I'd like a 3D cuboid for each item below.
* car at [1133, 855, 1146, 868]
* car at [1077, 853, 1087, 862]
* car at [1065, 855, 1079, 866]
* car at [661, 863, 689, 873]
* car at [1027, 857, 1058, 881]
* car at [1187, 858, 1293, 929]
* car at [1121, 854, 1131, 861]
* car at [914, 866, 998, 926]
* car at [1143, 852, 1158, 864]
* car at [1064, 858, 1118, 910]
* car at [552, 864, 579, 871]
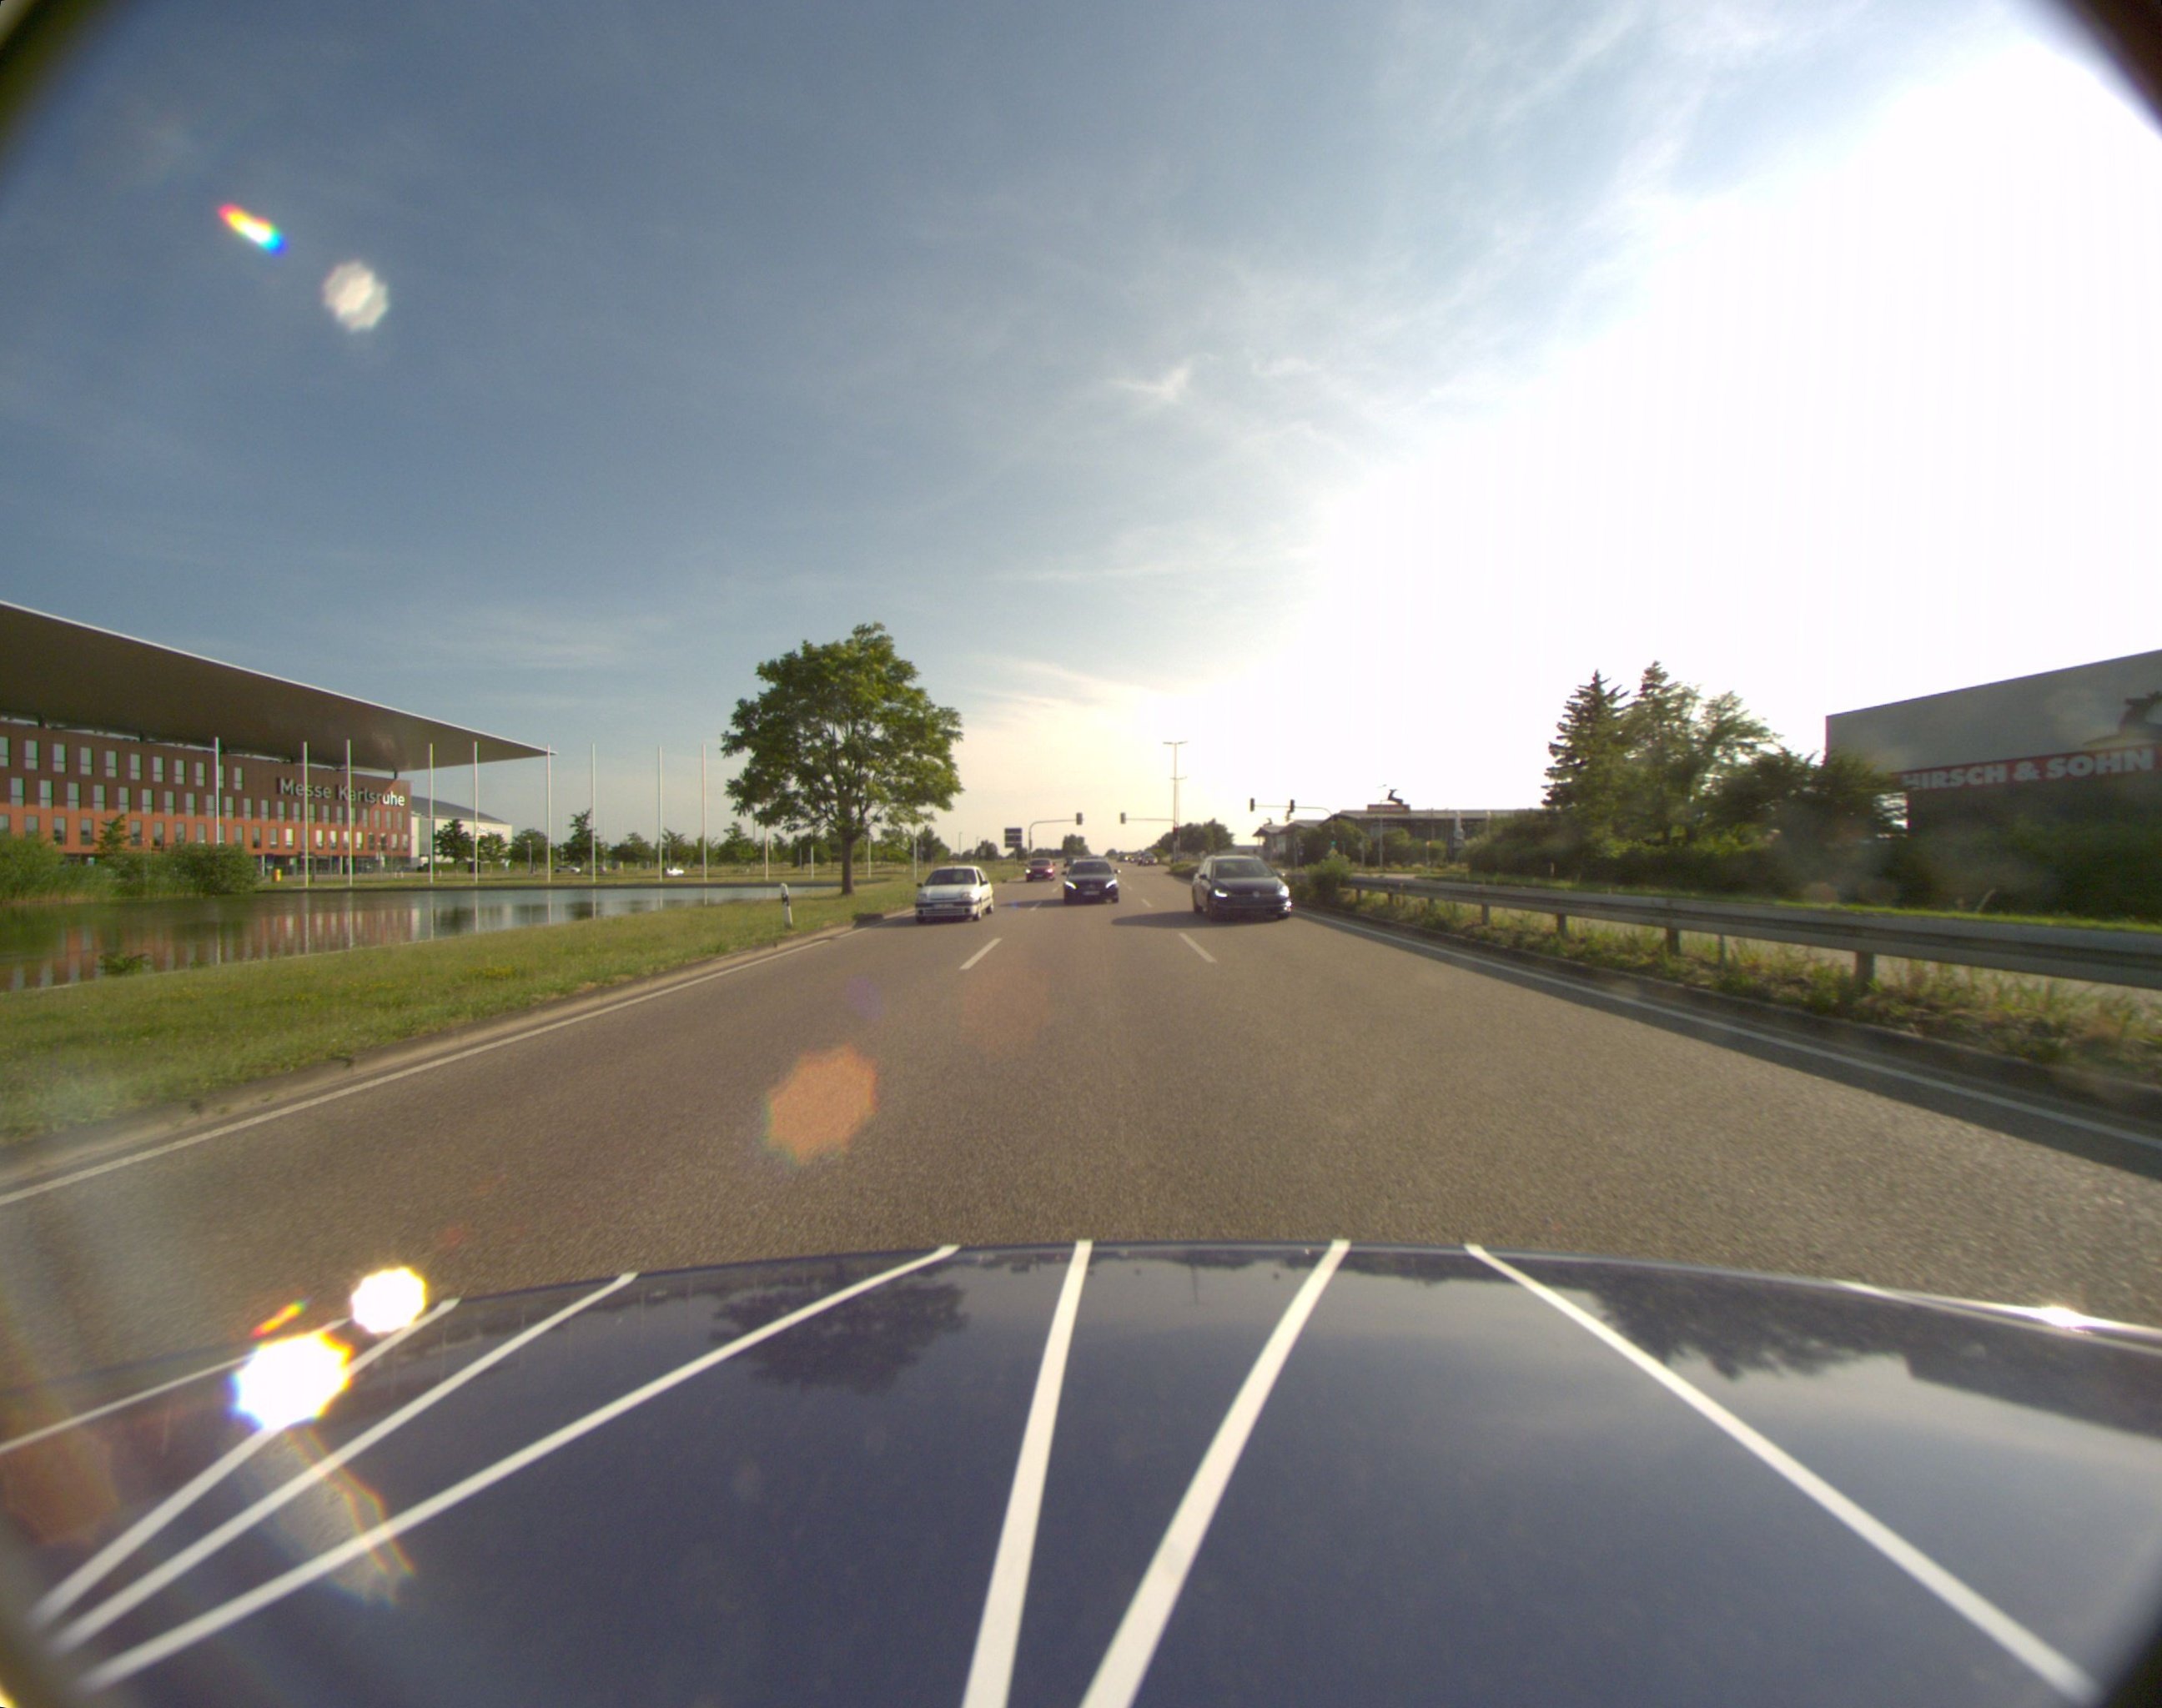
[{"bbox_3d":[8.127,1.050,105.916,1.650,1.823,4.226,-1,0,1],"label":"car"},{"bbox_3d":[0.165,0.602,140.945,1.751,1.512,3.740,-1,0,1],"label":"car"},{"bbox_3d":[-1.262,0.960,108.638,1.751,1.512,3.740,-1,0,1],"label":"car"},{"bbox_3d":[-61.440,2.111,115.084,1.709,1.447,3.568,-1,0,13],"label":"car"},{"bbox_3d":[-2.531,0.946,50.621,1.751,1.512,3.740,-1,0,1],"label":"car"},{"bbox_3d":[3.730,0.854,18.609,1.650,1.462,4.777,-1,0,1],"label":"car"},{"bbox_3d":[9.384,0.685,157.303,1.751,1.512,3.739,-1,0,-1],"label":"car"},{"bbox_3d":[-3.249,1.061,20.375,1.578,1.370,3.452,-1,0,1],"label":"car"},{"bbox_3d":[9.033,0.495,99.095,1.711,1.428,3.565,-1,0,1],"label":"car"},{"bbox_3d":[0.355,0.895,24.843,1.576,1.462,5.023,-1,0,1],"label":"car"},{"bbox_3d":[-102.246,2.710,150.756,4.209,1.272,1.486,-1,0,-2],"label":"car"}]
